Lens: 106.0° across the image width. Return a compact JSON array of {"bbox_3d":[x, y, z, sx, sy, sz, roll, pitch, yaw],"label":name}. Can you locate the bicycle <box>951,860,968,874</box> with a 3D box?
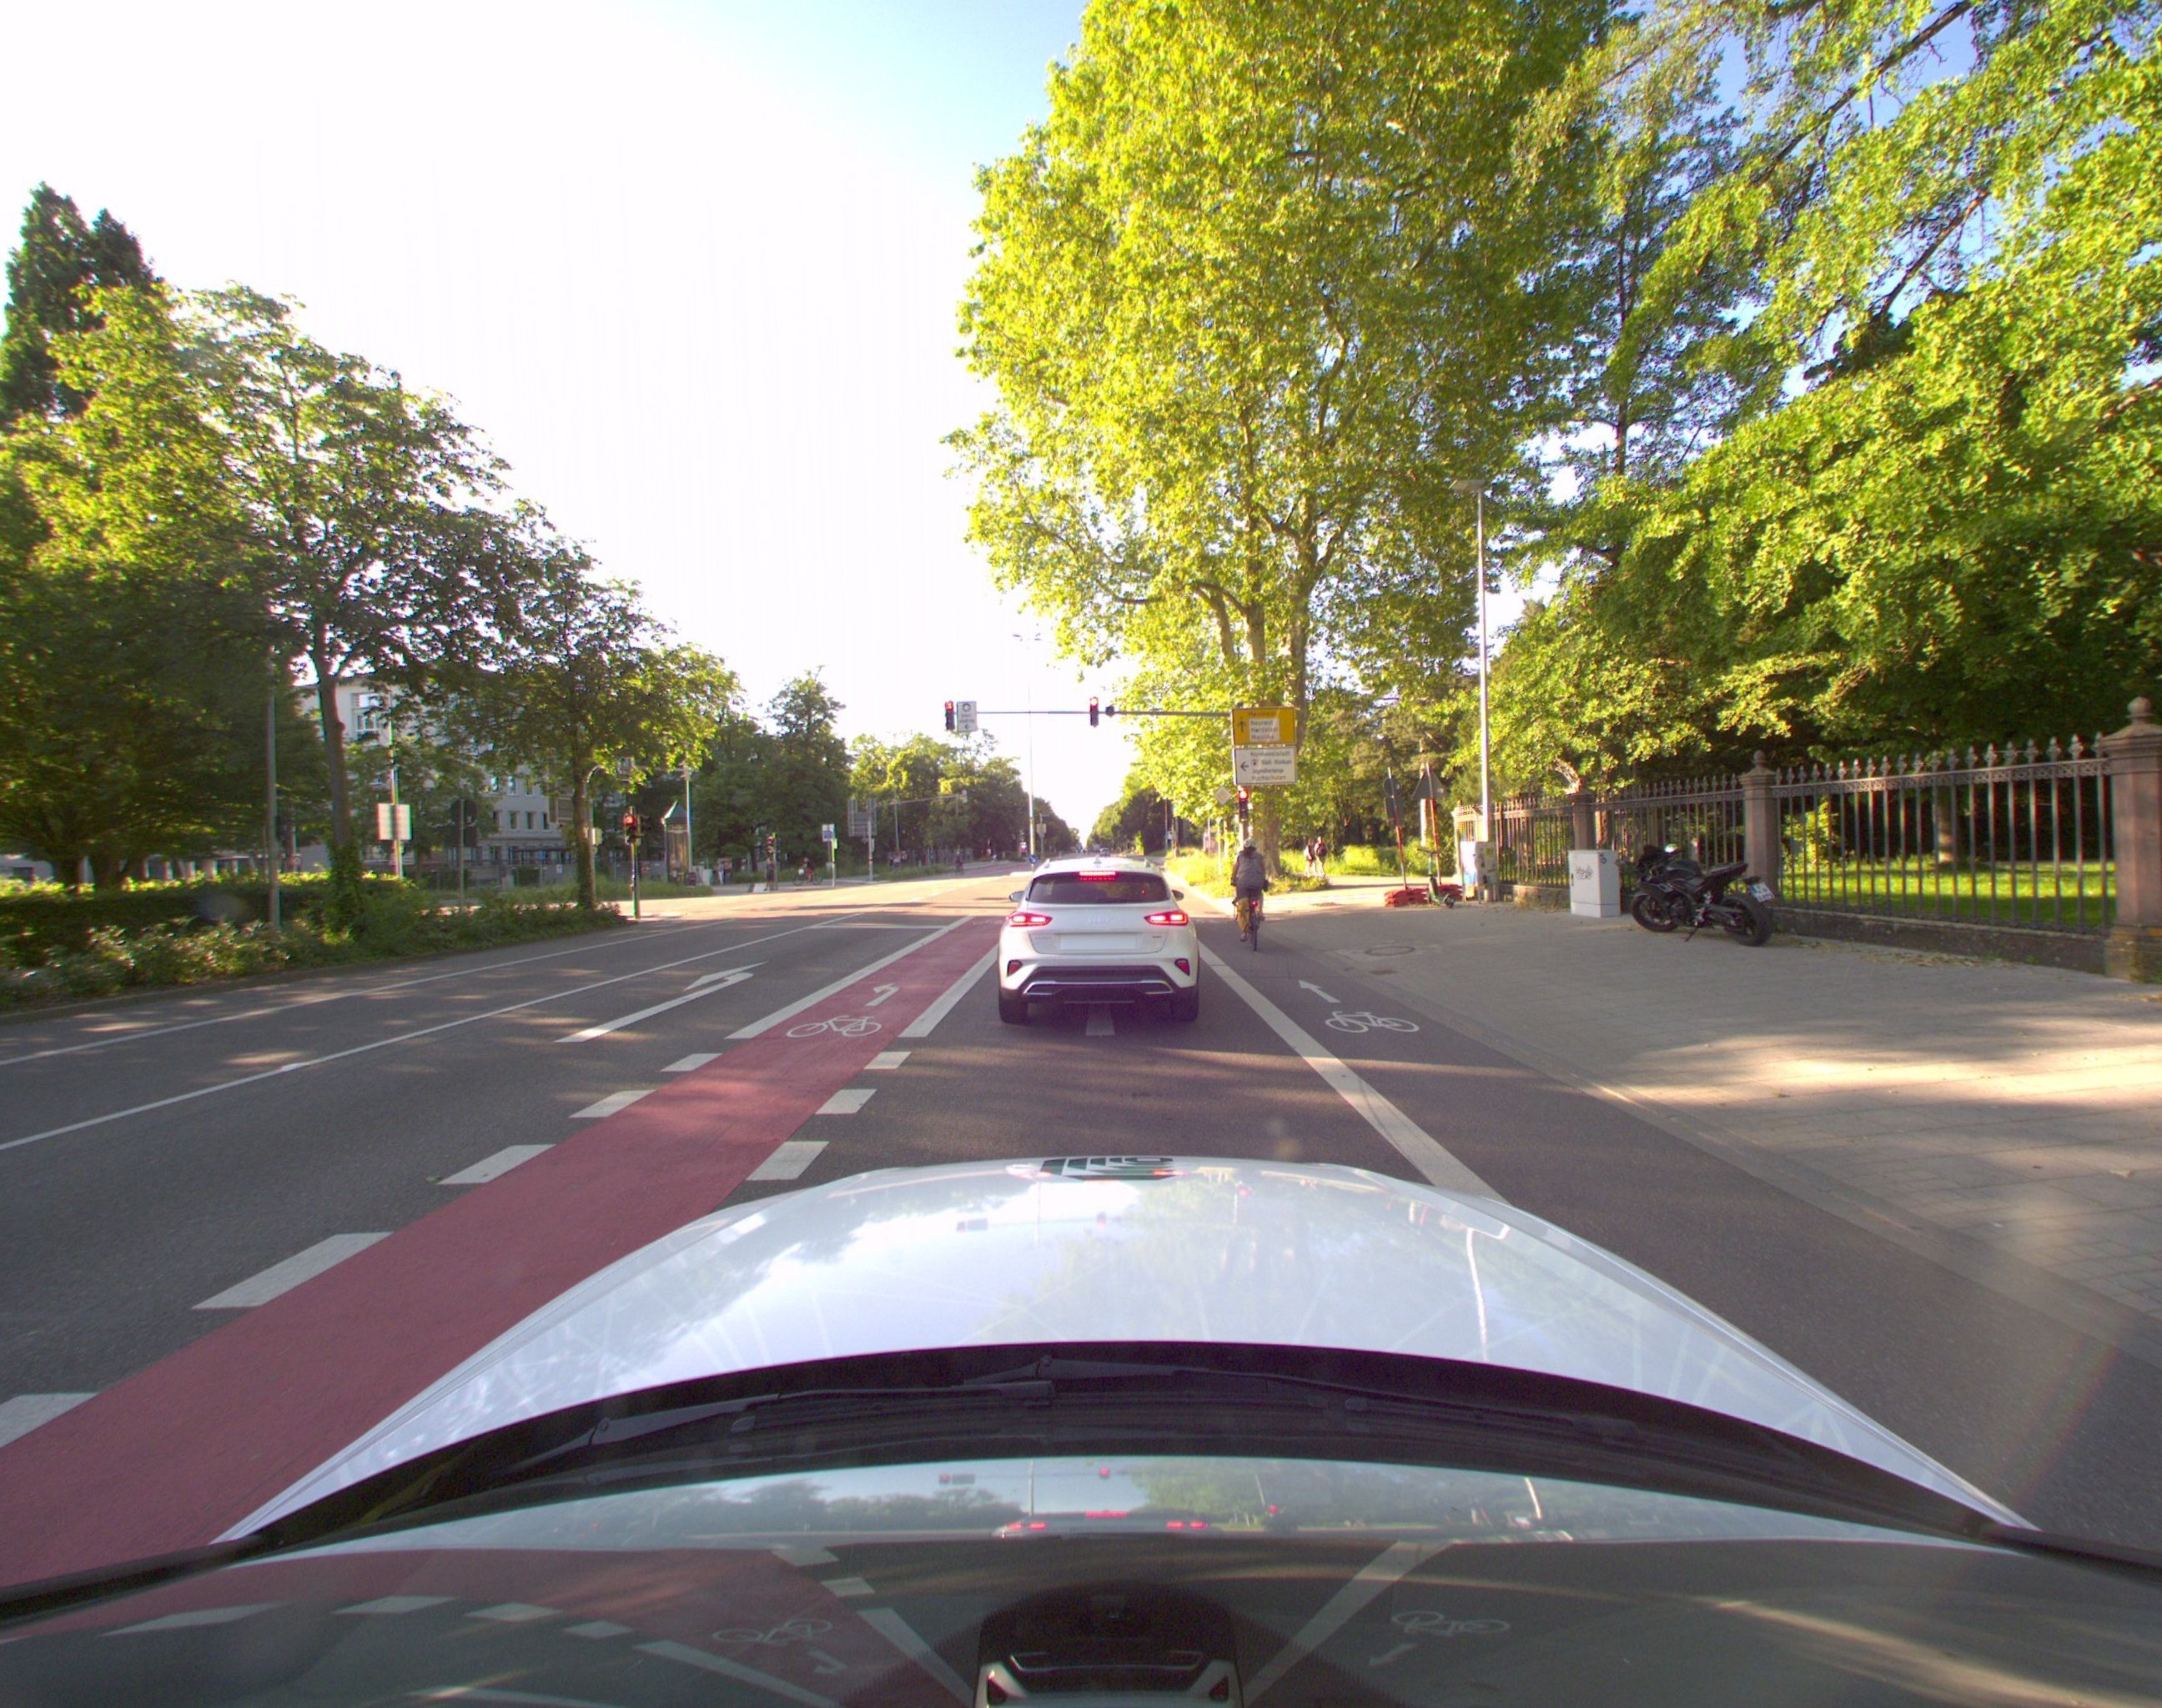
[{"bbox_3d":[-9.201,0.957,61.672,0.660,0.989,2.507,-3,0,4],"label":"bicycle"}]

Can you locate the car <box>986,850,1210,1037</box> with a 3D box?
[{"bbox_3d":[0.160,0.729,8.676,1.815,1.480,3.936,-1,0,0],"label":"car"}]

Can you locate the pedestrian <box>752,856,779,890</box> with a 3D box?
[{"bbox_3d":[-18.775,1.118,48.463,0.990,2.014,1.193,-1,0,7],"label":"pedestrian"}]

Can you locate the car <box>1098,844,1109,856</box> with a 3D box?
[{"bbox_3d":[4.044,-0.736,146.828,1.986,2.013,4.002,-3,0,2],"label":"car"}]

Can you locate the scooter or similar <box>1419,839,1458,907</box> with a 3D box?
[{"bbox_3d":[7.190,0.366,16.408,0.227,1.327,1.172,-3,0,1],"label":"scooter or similar"}]

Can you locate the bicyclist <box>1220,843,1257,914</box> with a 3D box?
[{"bbox_3d":[3.412,0.519,17.637,0.552,1.478,0.717,-5,0,0],"label":"bicyclist"}]

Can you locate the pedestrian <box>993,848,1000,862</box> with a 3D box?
[{"bbox_3d":[-11.106,0.166,106.451,0.782,1.785,0.752,-1,0,2],"label":"pedestrian"}]

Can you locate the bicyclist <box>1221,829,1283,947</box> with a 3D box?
[{"bbox_3d":[2.703,0.519,12.970,0.750,1.795,1.165,0,0,0],"label":"bicyclist"}]

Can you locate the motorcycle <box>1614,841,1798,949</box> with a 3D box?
[{"bbox_3d":[7.416,0.443,9.828,0.504,1.131,2.170,-4,0,0],"label":"motorcycle"}]

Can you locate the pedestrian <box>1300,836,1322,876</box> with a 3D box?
[{"bbox_3d":[9.908,0.086,35.118,0.688,1.699,0.643,-3,0,-5],"label":"pedestrian"}]

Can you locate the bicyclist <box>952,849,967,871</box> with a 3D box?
[{"bbox_3d":[-9.213,0.468,61.801,0.871,1.608,1.189,-3,0,4],"label":"bicyclist"}]

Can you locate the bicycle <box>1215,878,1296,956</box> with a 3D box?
[{"bbox_3d":[2.700,0.939,12.887,0.755,1.013,2.569,0,0,0],"label":"bicycle"}]

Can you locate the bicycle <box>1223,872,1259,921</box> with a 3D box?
[{"bbox_3d":[3.438,0.887,17.560,0.400,0.956,1.551,-5,0,0],"label":"bicycle"}]

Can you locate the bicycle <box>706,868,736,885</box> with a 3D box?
[{"bbox_3d":[-24.488,1.520,55.426,1.859,1.148,0.290,-1,-1,-6],"label":"bicycle"}]

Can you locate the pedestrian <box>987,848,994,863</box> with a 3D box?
[{"bbox_3d":[-11.775,0.172,106.287,0.637,2.014,0.756,-1,-1,12],"label":"pedestrian"}]

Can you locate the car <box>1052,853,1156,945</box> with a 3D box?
[{"bbox_3d":[0.406,0.764,15.736,1.723,1.483,3.517,-3,0,0],"label":"car"}]

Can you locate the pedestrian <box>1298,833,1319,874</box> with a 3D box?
[{"bbox_3d":[9.971,-0.022,35.693,0.615,1.771,0.646,-3,0,-5],"label":"pedestrian"}]

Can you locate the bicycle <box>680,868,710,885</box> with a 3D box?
[{"bbox_3d":[-26.415,1.535,55.753,1.851,1.148,0.444,-1,0,8],"label":"bicycle"}]

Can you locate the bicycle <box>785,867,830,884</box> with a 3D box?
[{"bbox_3d":[-17.981,1.421,53.598,2.711,0.989,0.578,-3,0,-15],"label":"bicycle"}]

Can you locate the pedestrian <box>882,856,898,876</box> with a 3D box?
[{"bbox_3d":[-16.205,1.036,69.184,1.086,1.603,0.999,-3,0,-5],"label":"pedestrian"}]

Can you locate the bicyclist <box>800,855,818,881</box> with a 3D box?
[{"bbox_3d":[-17.894,0.925,53.631,0.976,1.606,0.873,-3,0,-15],"label":"bicyclist"}]

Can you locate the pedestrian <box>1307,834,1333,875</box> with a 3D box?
[{"bbox_3d":[10.537,0.020,35.937,0.816,1.771,0.831,-3,0,-5],"label":"pedestrian"}]
